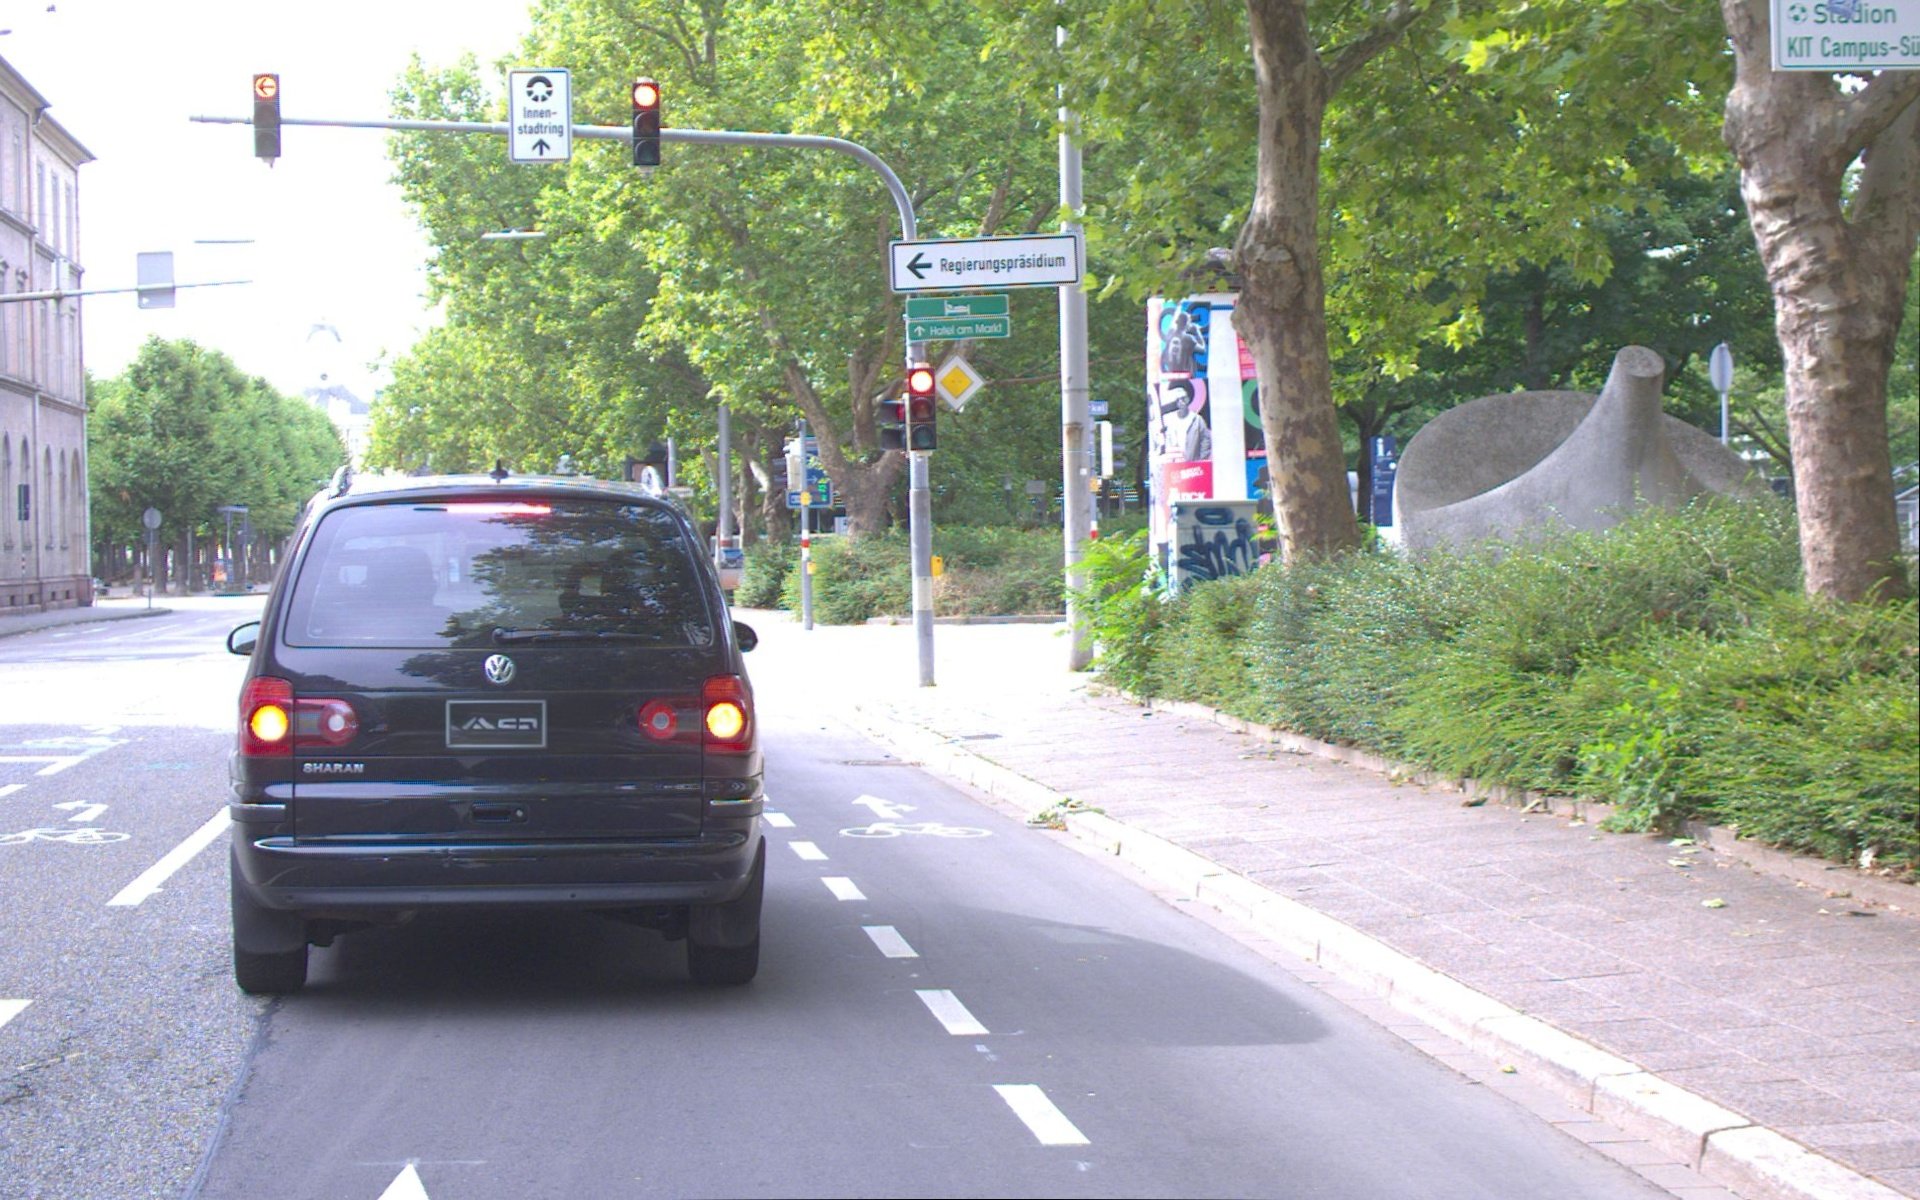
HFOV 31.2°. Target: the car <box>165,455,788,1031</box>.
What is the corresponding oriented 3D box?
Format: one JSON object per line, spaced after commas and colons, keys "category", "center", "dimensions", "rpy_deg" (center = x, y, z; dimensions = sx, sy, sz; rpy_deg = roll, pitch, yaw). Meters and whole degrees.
{"category": "car", "center": [-1.648, 0.388, 12.873], "dimensions": [1.873, 1.739, 4.574], "rpy_deg": [-1, 1, -4]}
